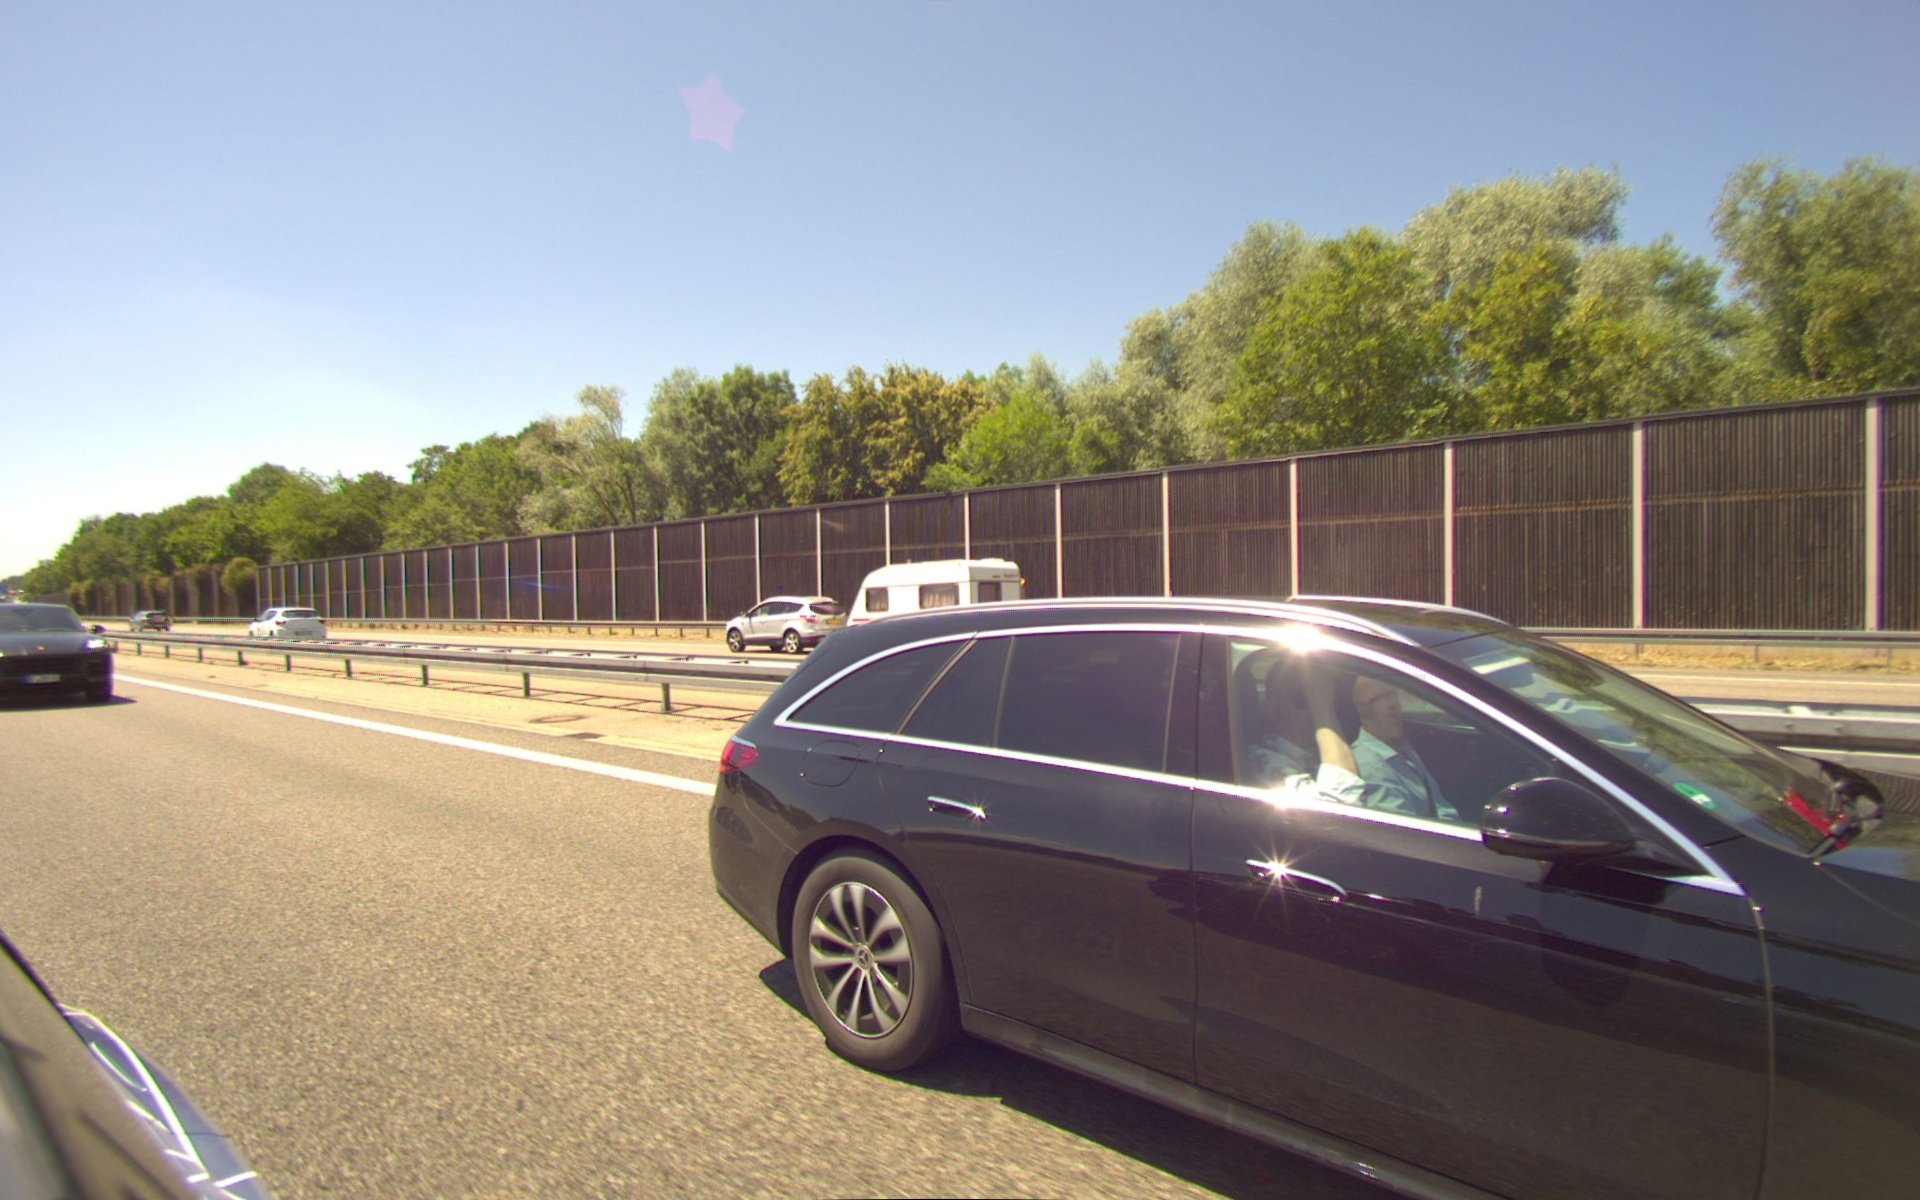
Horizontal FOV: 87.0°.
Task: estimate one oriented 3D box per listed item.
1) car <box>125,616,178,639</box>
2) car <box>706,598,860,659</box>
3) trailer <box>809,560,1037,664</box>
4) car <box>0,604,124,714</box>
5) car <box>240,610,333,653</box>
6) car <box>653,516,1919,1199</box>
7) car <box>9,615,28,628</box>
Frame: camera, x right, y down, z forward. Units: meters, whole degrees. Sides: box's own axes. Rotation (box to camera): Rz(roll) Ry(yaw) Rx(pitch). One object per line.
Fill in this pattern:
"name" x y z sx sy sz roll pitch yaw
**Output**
"car" -58.821 1.977 73.587 5.980 1.534 2.102 -1 -1 42
"car" -5.430 0.838 30.620 4.902 1.724 1.880 -1 -1 40
"trailer" -1.122 0.335 26.959 6.263 2.495 2.109 -1 -1 40
"car" -16.305 0.937 17.380 5.767 1.637 2.023 -1 -1 40
"car" -25.857 1.174 38.811 4.416 1.532 1.879 -1 -1 41
"car" 1.704 0.633 2.611 5.816 1.518 1.924 -1 -1 40
"car" -157.211 3.610 168.992 5.385 2.029 1.972 -1 -1 43
